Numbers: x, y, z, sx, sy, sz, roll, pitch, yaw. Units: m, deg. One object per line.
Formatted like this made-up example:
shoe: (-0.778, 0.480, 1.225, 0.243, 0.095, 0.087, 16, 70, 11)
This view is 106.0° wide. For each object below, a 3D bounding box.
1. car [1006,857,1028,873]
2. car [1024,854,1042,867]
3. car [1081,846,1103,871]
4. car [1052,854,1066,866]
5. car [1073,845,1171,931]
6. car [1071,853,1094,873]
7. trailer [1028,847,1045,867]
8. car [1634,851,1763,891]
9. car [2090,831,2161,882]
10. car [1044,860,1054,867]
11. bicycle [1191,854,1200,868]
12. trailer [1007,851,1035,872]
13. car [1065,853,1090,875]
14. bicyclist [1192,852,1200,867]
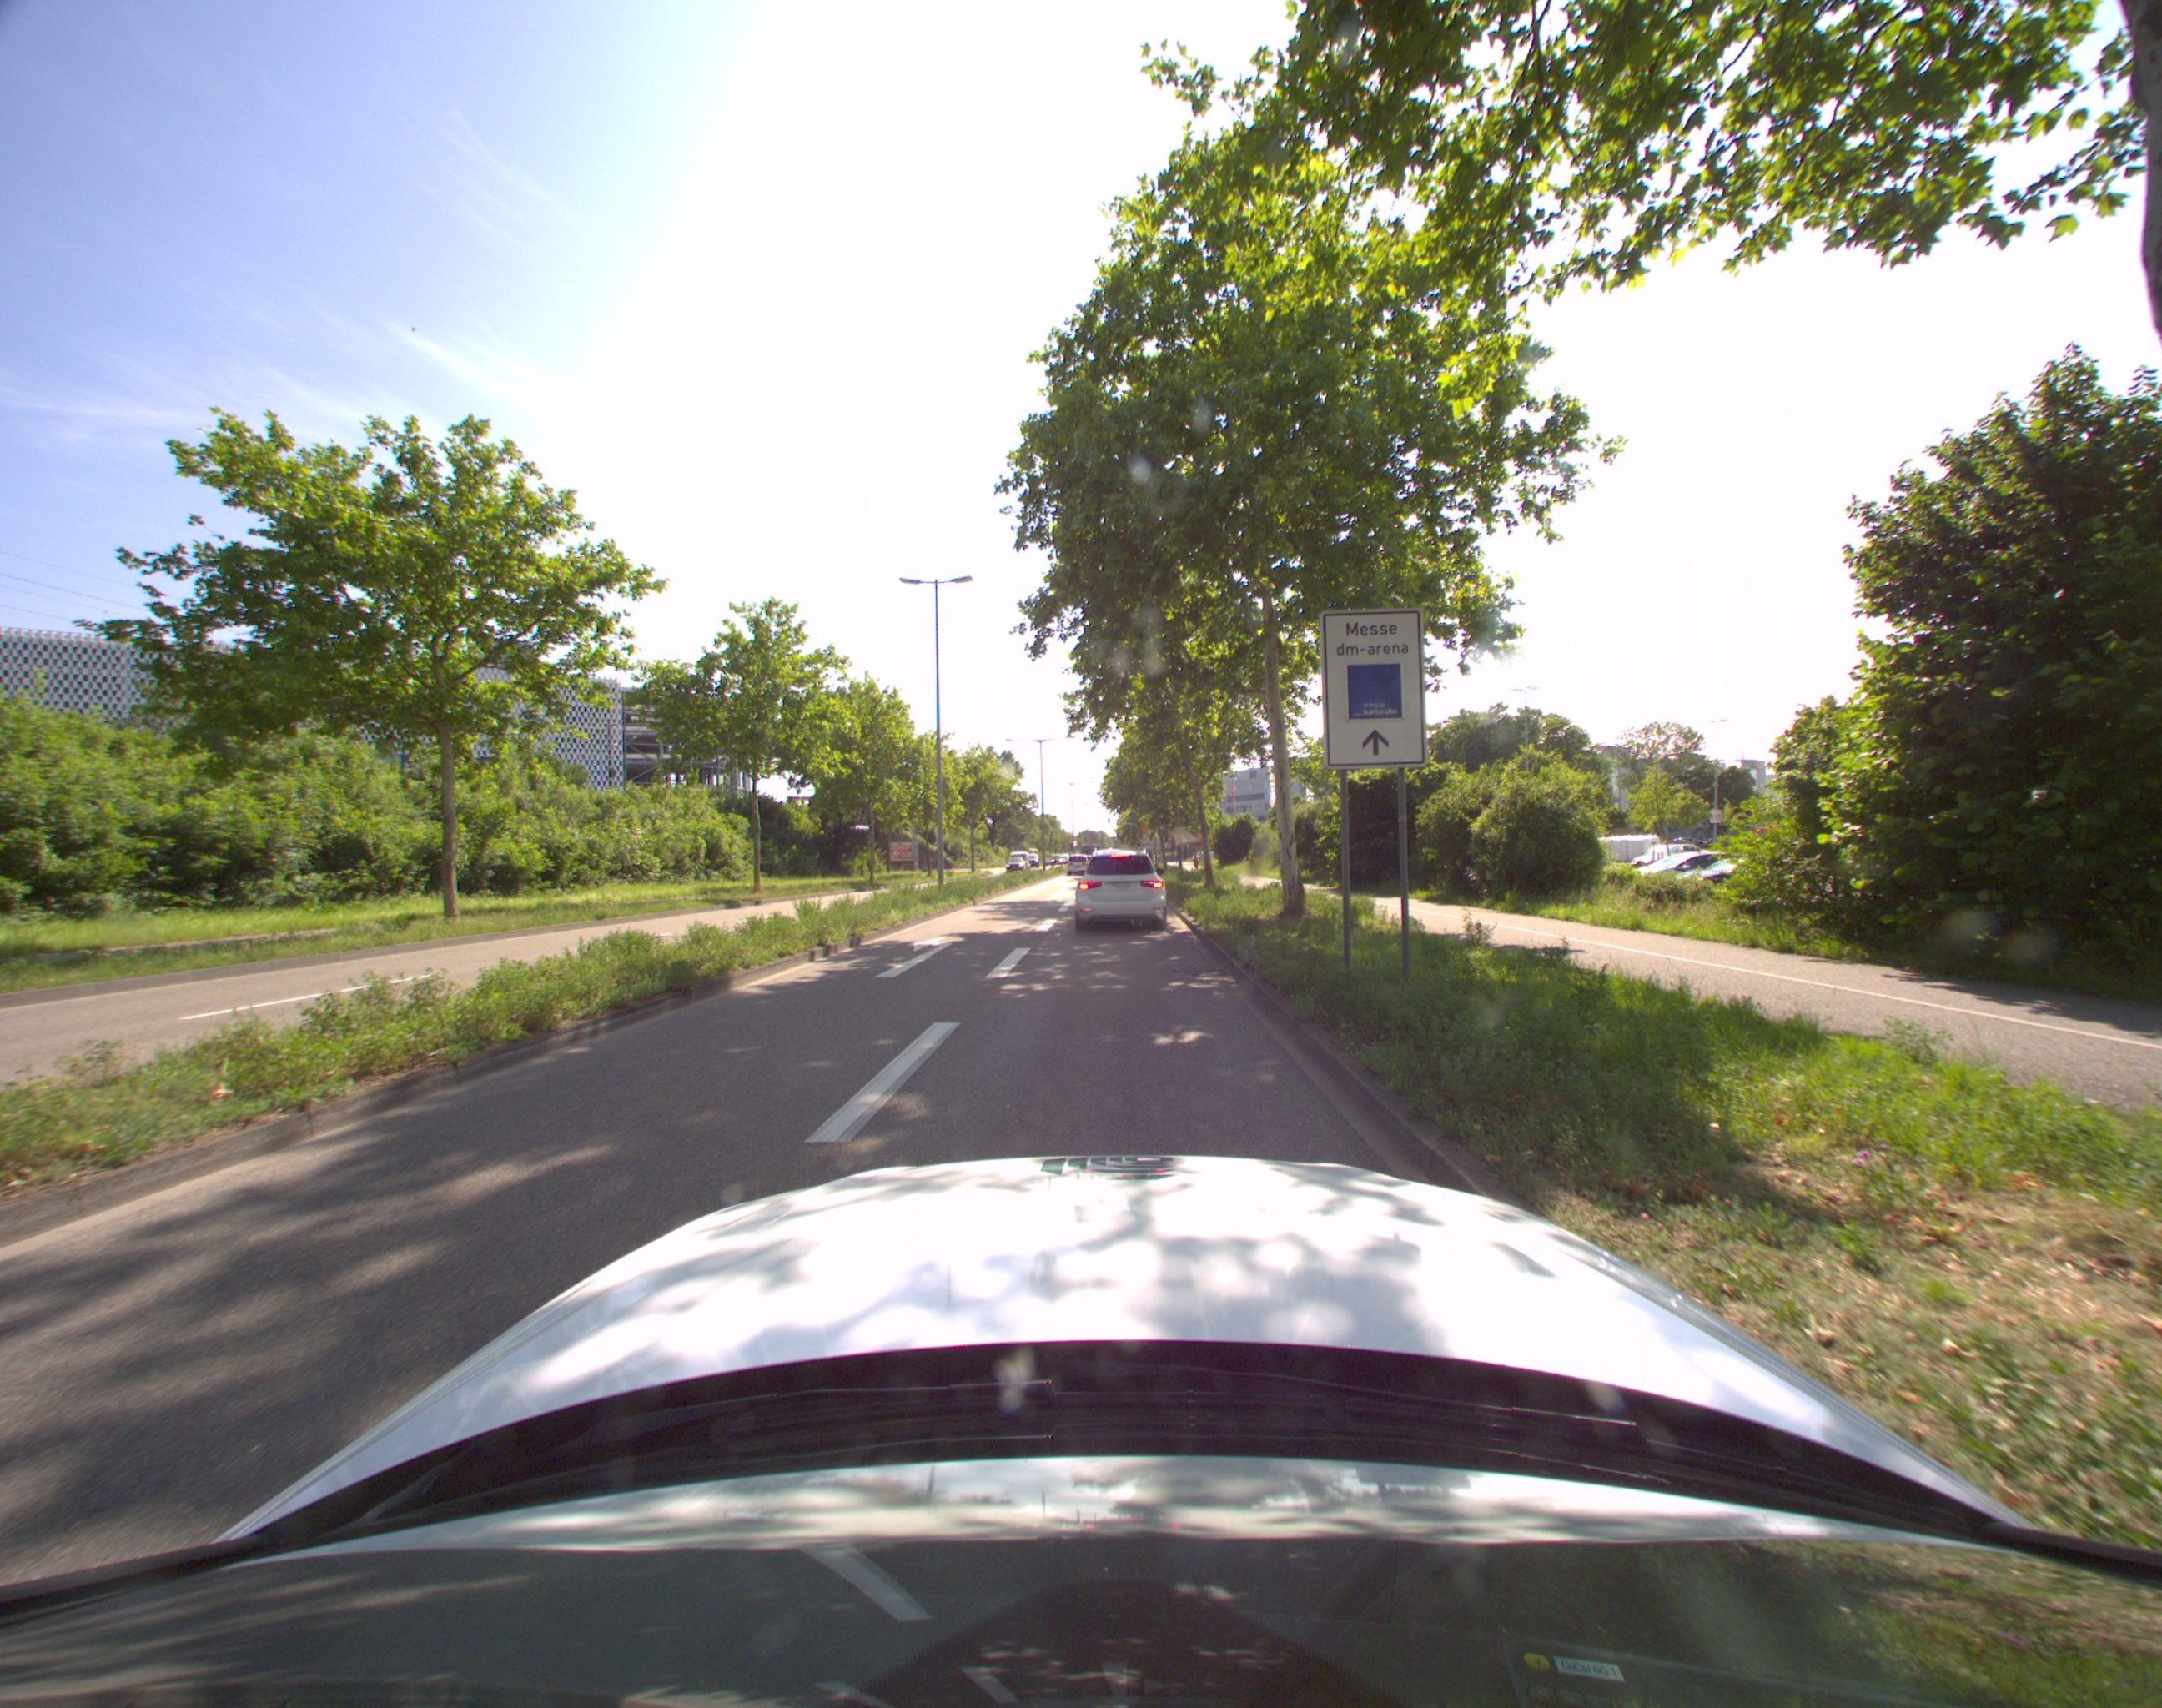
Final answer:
car: (-6.815, 1.114, 86.578, 1.708, 1.622, 4.365, -1, 0, 3)
car: (-6.520, 0.870, 110.677, 1.757, 1.790, 5.380, 0, 0, 3)
car: (1.194, 0.460, 87.628, 2.072, 2.656, 4.878, 0, 0, 3)
car: (-3.362, 0.996, 125.464, 1.723, 1.809, 4.236, 0, 0, 3)
car: (0.769, 0.668, 17.615, 1.848, 1.607, 3.998, -1, 0, -1)
car: (0.145, 0.780, 71.496, 1.764, 1.647, 4.088, -1, 0, 3)
trailer: (-6.231, 0.445, 115.344, 1.872, 2.744, 4.833, 0, 0, 3)
car: (21.421, 0.585, 28.343, 3.306, 1.310, 1.448, -1, 0, 6)
car: (32.042, 0.067, 24.177, 0.948, 1.492, 2.593, 1, -1, -40)
car: (-6.006, 1.802, 152.836, 1.694, 1.365, 3.647, -1, 0, 2)
bicycle: (11.287, 0.672, 80.128, 0.719, 1.299, 2.097, 0, -1, 3)
trailer: (-6.698, 0.878, 91.532, 2.299, 2.265, 5.543, -1, -1, 3)
car: (-0.252, 0.780, 65.440, 1.764, 1.647, 4.356, -1, 0, 3)
bicyclist: (11.303, 0.539, 80.124, 0.701, 1.477, 1.010, 0, -1, 3)
